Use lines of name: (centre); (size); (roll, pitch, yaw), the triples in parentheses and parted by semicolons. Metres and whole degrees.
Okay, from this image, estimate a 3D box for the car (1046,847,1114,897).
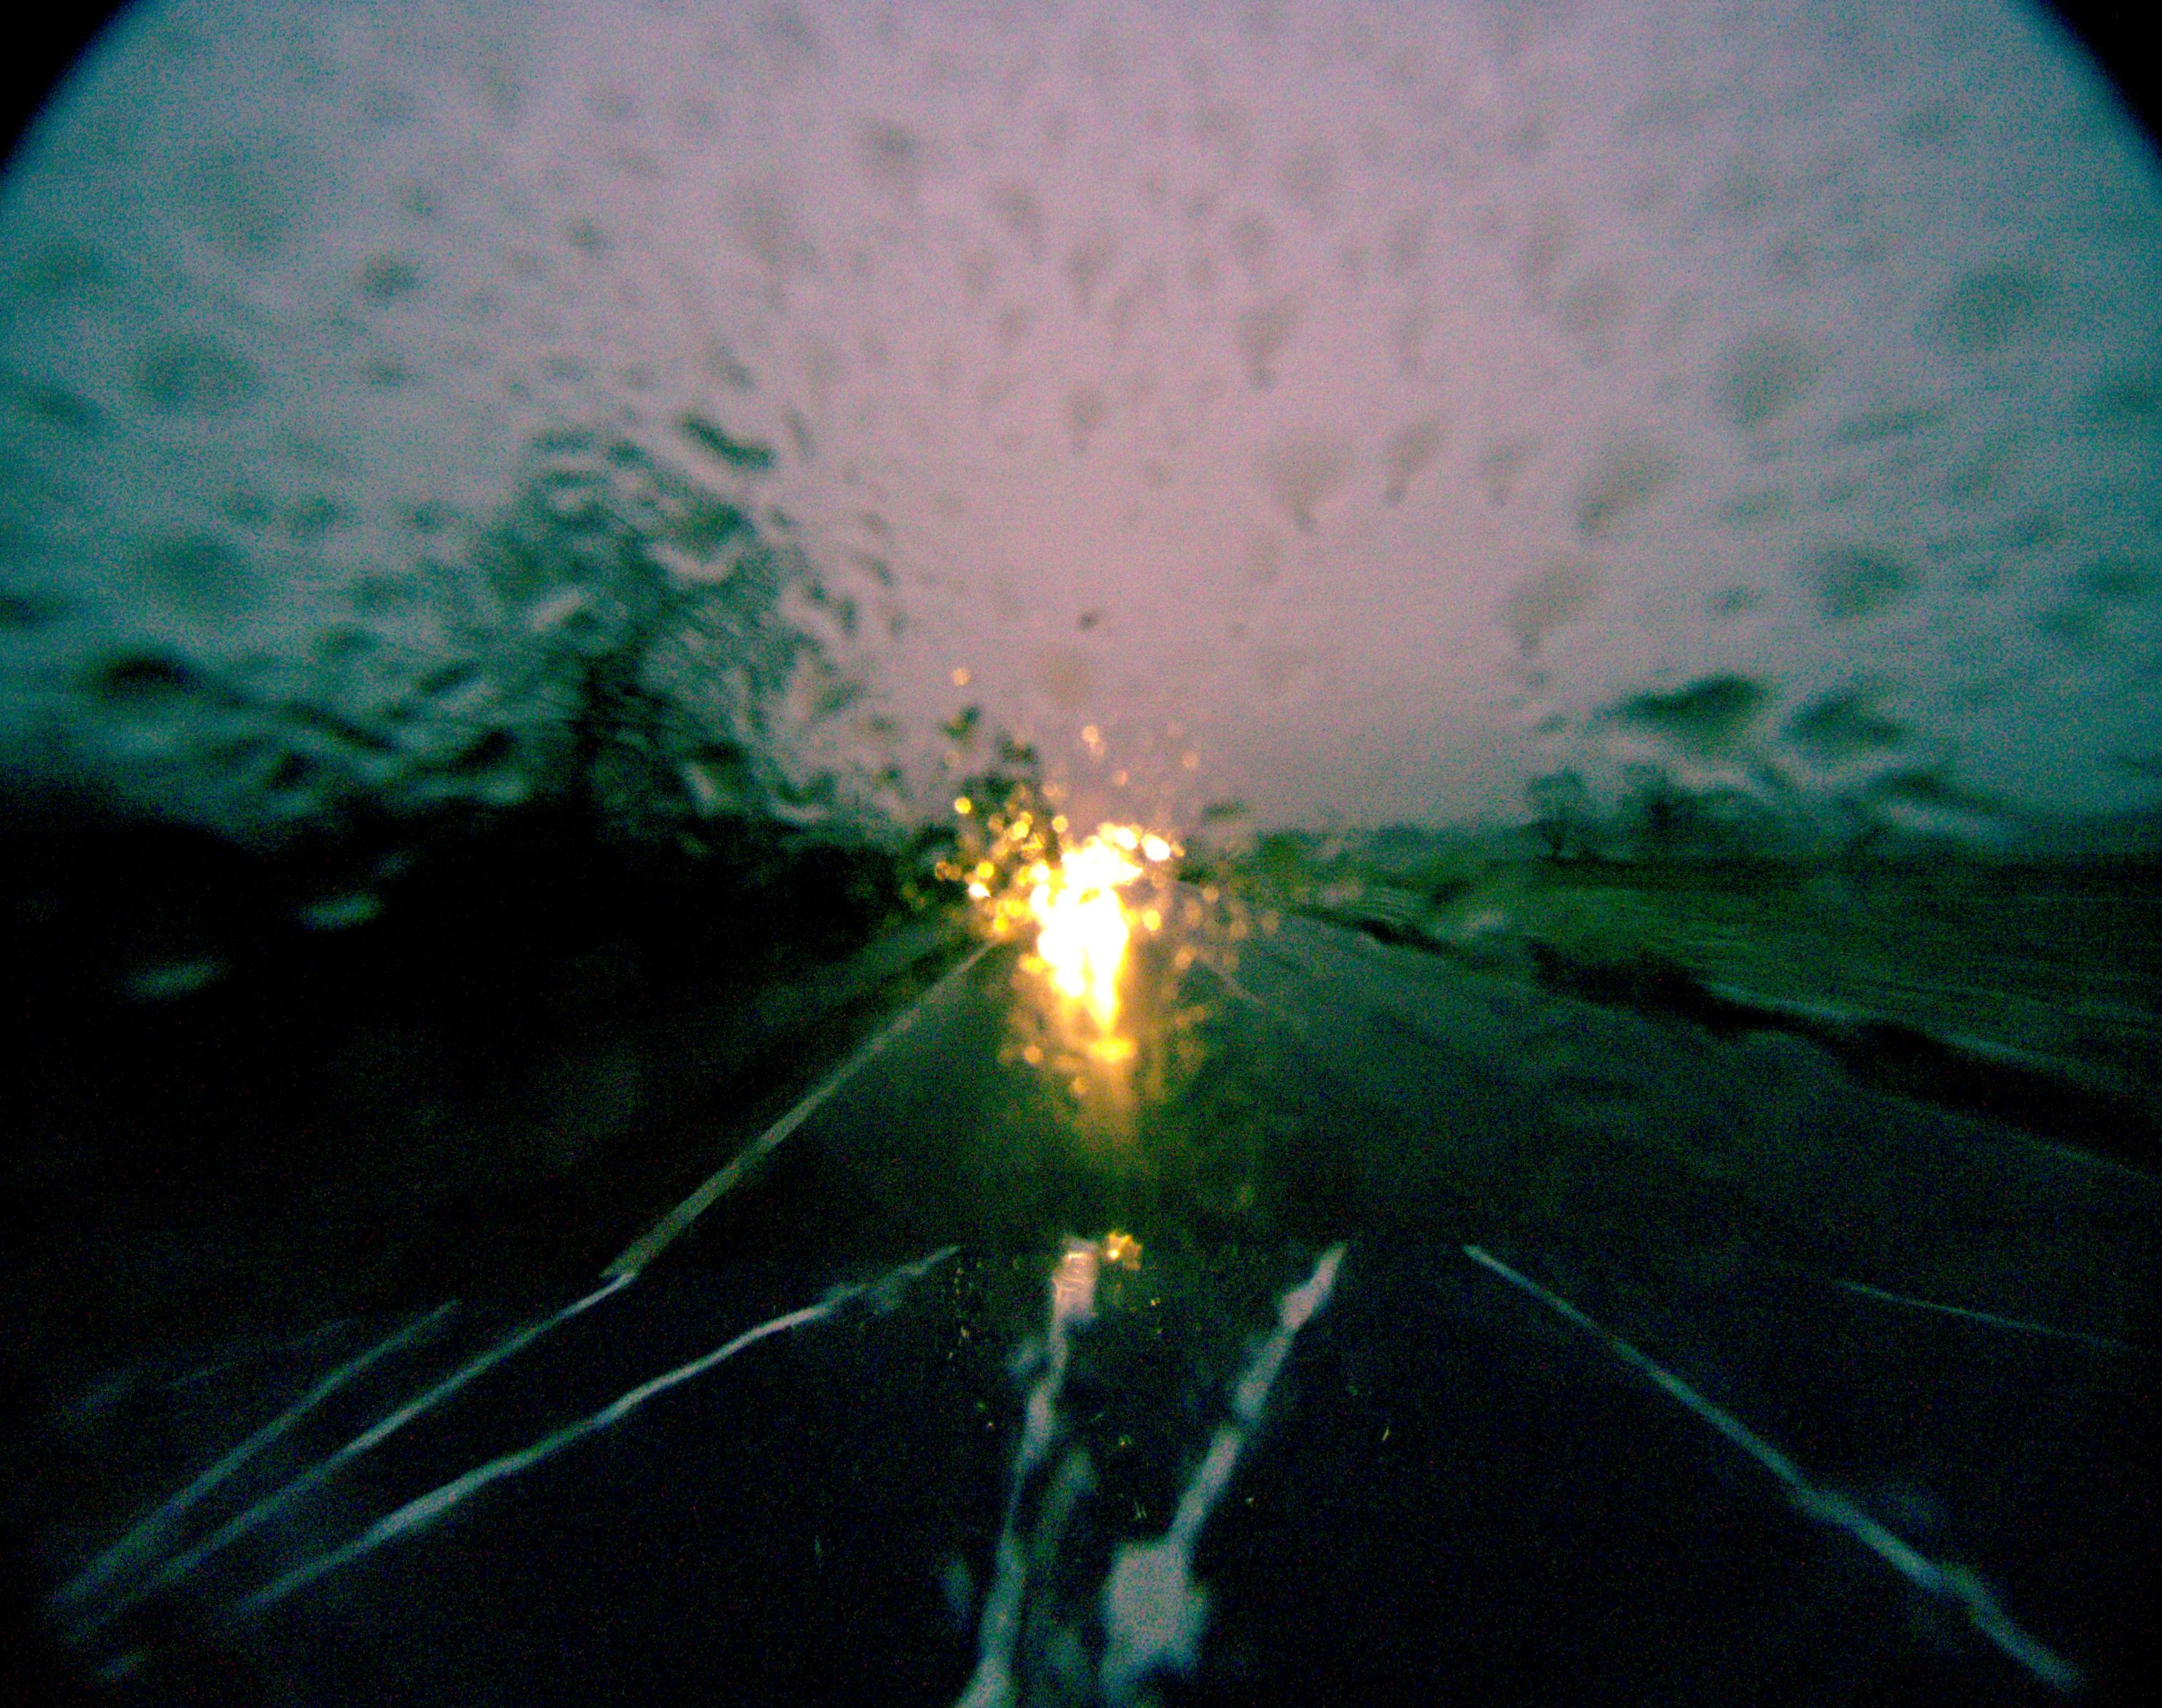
car: (0.058, 0.710, 34.058); (2.704, 1.974, 5.804); (-2, 1, 2)
